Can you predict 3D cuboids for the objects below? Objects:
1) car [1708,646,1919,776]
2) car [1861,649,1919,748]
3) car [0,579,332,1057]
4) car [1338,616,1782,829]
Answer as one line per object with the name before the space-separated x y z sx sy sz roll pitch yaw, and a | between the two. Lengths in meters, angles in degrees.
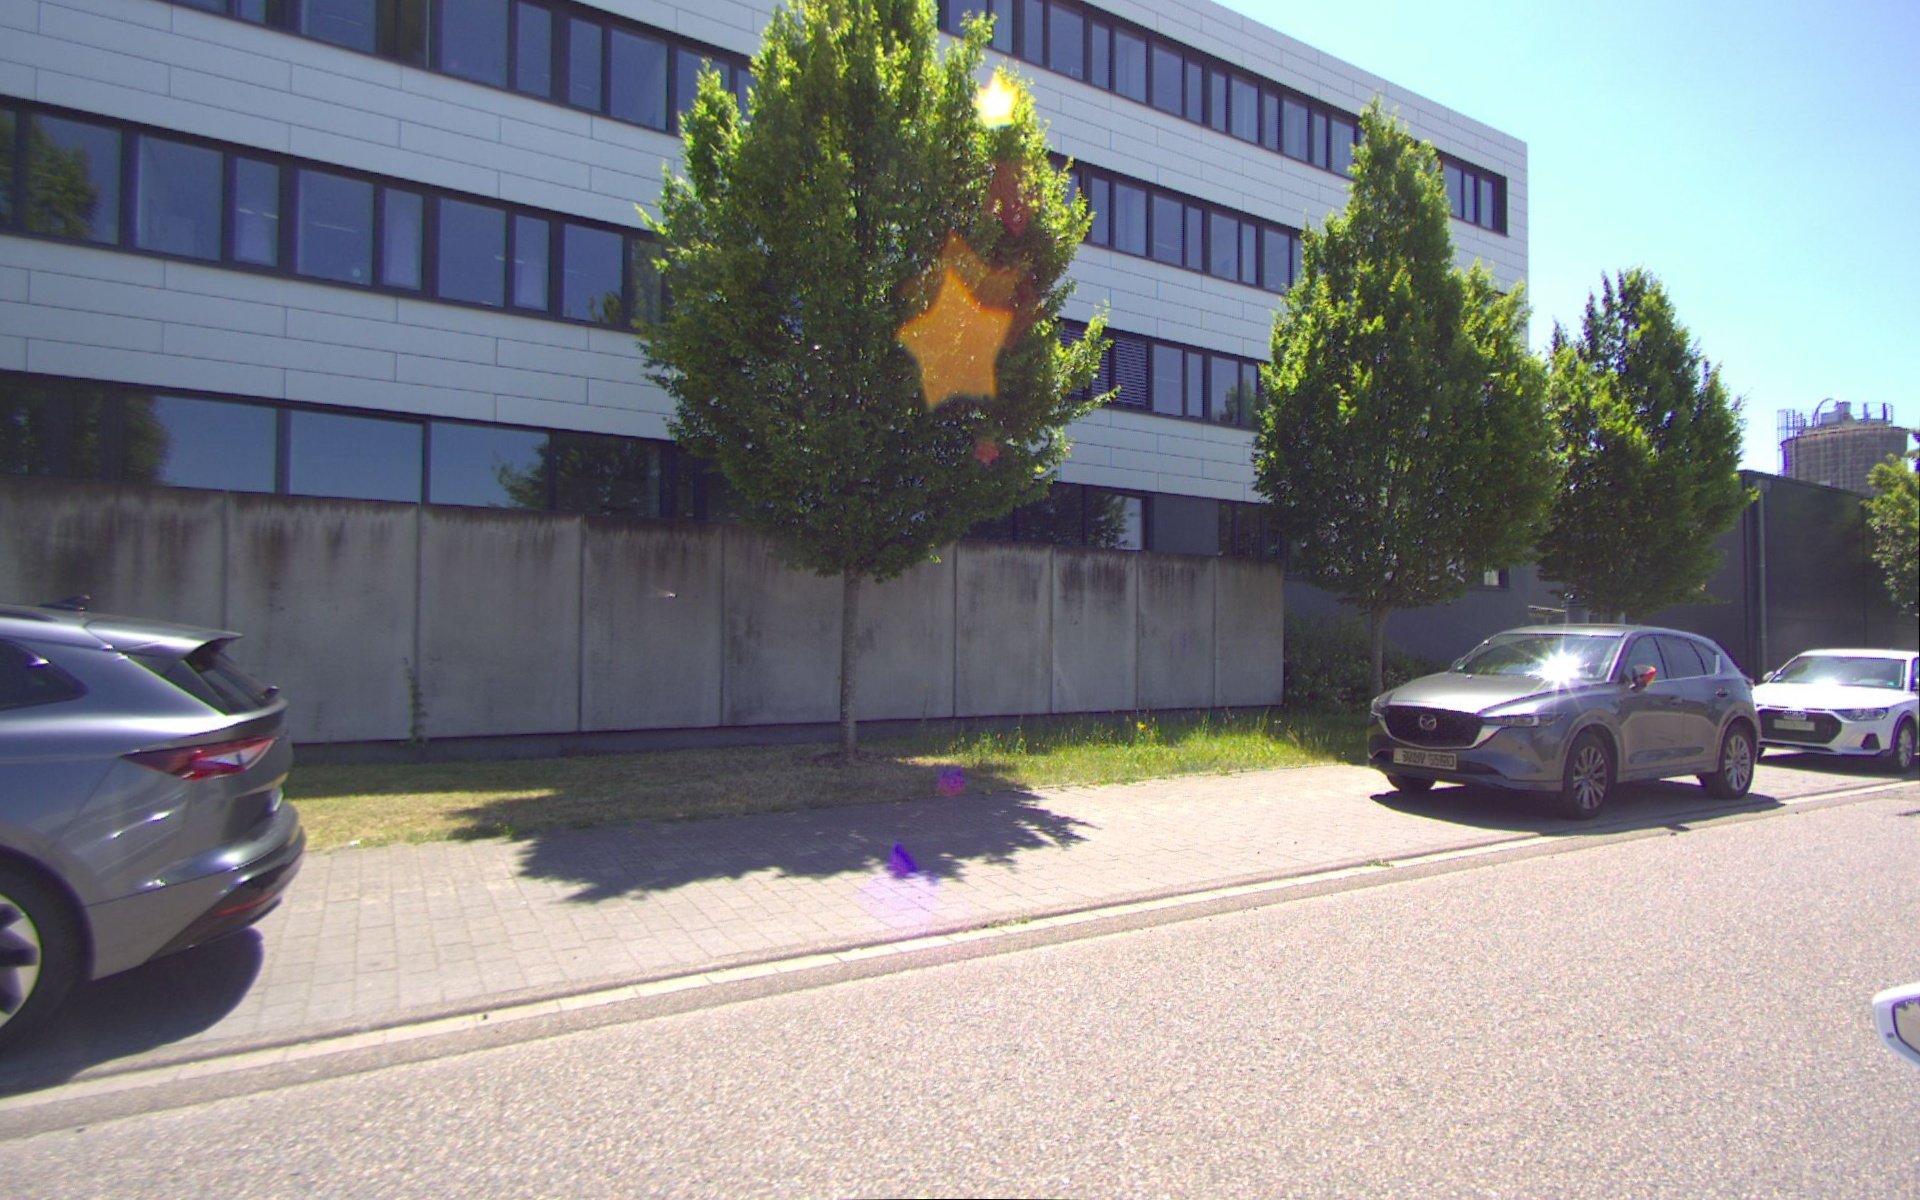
car | 11.953 1.381 13.374 4.153 1.450 1.762 2 -2 -31
car | 16.036 1.544 15.755 3.895 1.450 1.762 2 -2 -31
car | -4.776 0.720 3.430 4.432 1.609 1.761 1 -1 -33
car | 5.896 1.036 9.716 4.529 1.645 1.762 2 -2 -31
